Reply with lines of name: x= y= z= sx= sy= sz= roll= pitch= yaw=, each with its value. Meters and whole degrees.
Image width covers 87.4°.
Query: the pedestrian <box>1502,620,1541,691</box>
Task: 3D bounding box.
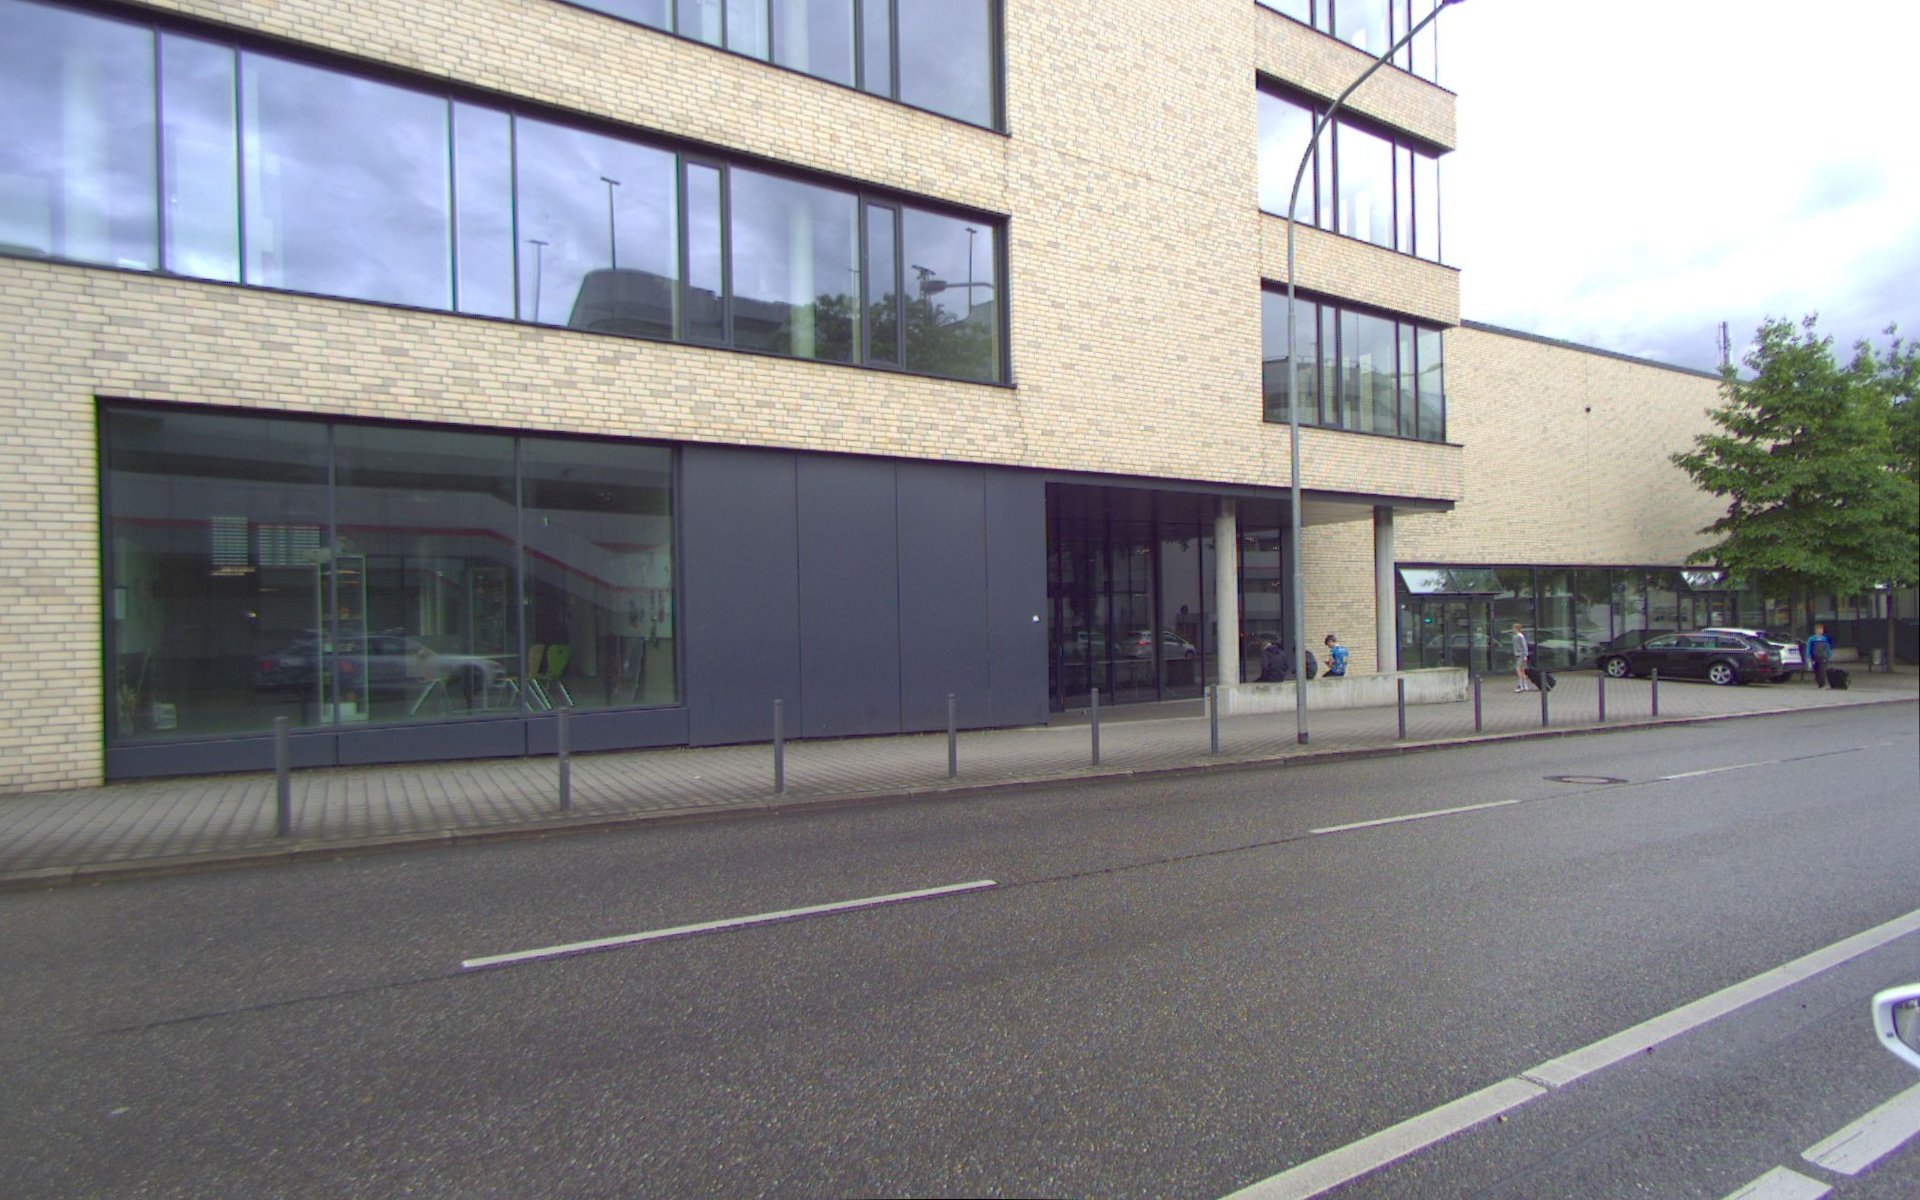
pedestrian: x=14.085 y=1.382 z=25.206 sx=0.473 sy=1.720 sz=0.672 roll=1 pitch=0 yaw=-30

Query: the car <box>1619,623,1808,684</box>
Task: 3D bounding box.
car: x=23.515 y=1.612 z=31.503 sx=1.980 sy=1.595 sz=4.388 roll=-1 pitch=1 yaw=-35

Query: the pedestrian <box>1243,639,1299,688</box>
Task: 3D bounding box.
pedestrian: x=5.884 y=1.201 z=19.005 sx=0.752 sy=0.796 sz=0.595 roll=9 pitch=-4 yaw=-30

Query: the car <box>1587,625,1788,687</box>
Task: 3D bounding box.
car: x=21.427 y=1.582 z=29.747 sx=1.981 sy=1.608 sz=4.437 roll=1 pitch=-1 yaw=-36

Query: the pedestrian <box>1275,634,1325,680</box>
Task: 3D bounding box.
pedestrian: x=6.626 y=1.102 z=19.560 sx=0.719 sy=0.856 sz=0.583 roll=2 pitch=-1 yaw=-30

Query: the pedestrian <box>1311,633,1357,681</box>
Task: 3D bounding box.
pedestrian: x=7.502 y=1.134 z=20.134 sx=0.519 sy=0.897 sz=0.676 roll=2 pitch=0 yaw=-36

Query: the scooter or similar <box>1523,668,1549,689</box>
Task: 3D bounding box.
scooter or similar: x=14.572 y=1.978 z=25.417 sx=0.608 sy=0.507 sz=0.279 roll=2 pitch=0 yaw=-27

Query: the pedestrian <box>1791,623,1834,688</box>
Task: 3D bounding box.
pedestrian: x=23.760 y=1.540 z=27.998 sx=0.745 sy=1.748 sz=0.685 roll=0 pitch=1 yaw=-31
